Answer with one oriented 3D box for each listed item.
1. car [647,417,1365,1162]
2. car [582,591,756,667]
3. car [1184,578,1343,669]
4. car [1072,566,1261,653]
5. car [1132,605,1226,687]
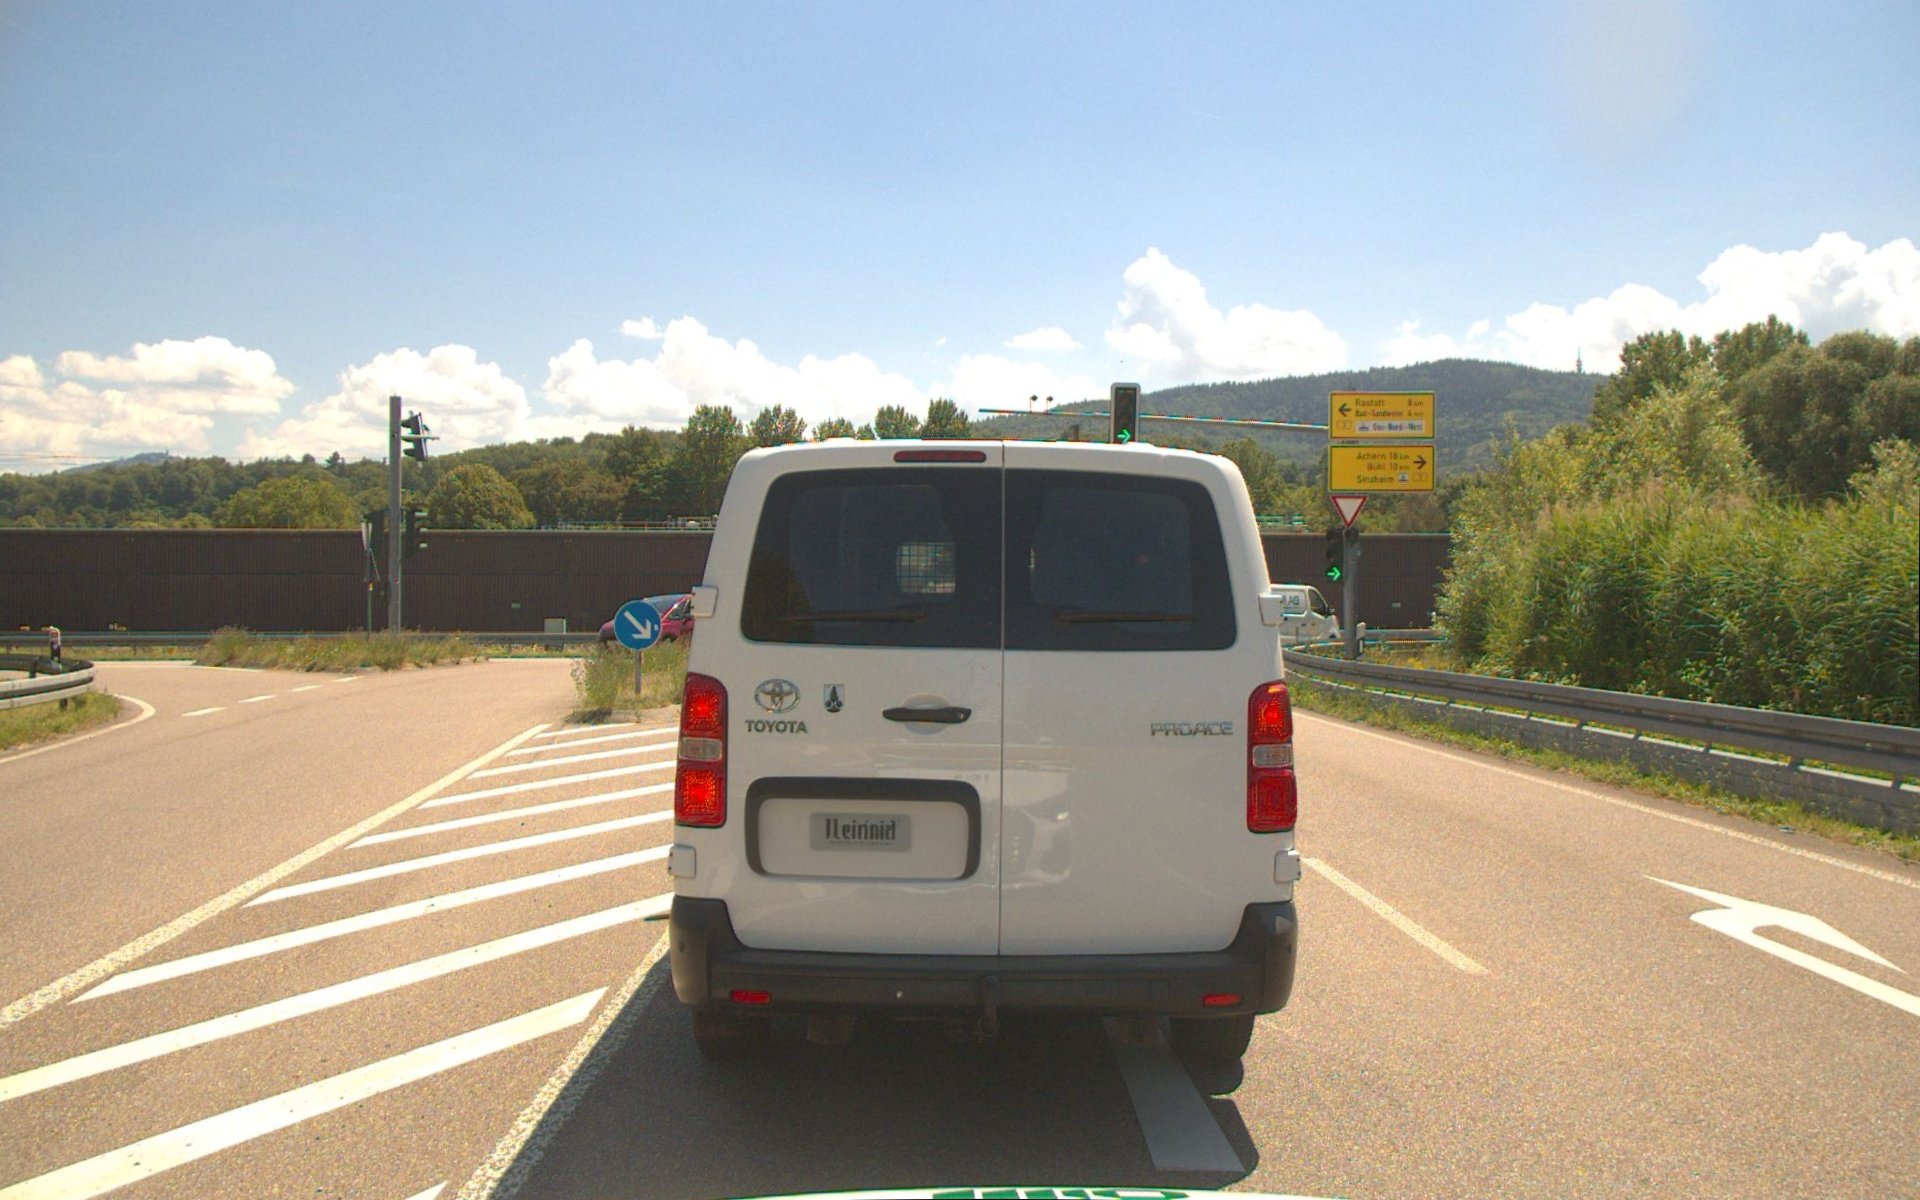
[{"bbox_3d":[0.080,0.508,6.302,1.848,1.919,3.999,1,0,-2],"label":"car"},{"bbox_3d":[-6.825,0.651,39.216,1.954,1.685,4.321,0,0,25],"label":"car"},{"bbox_3d":[7.346,0.547,39.652,1.896,2.035,4.819,0,0,36],"label":"car"},{"bbox_3d":[6.059,0.293,48.849,5.242,2.493,2.036,0,0,-7],"label":"car"},{"bbox_3d":[4.237,0.848,31.668,1.620,1.456,3.368,1,0,10],"label":"car"}]
